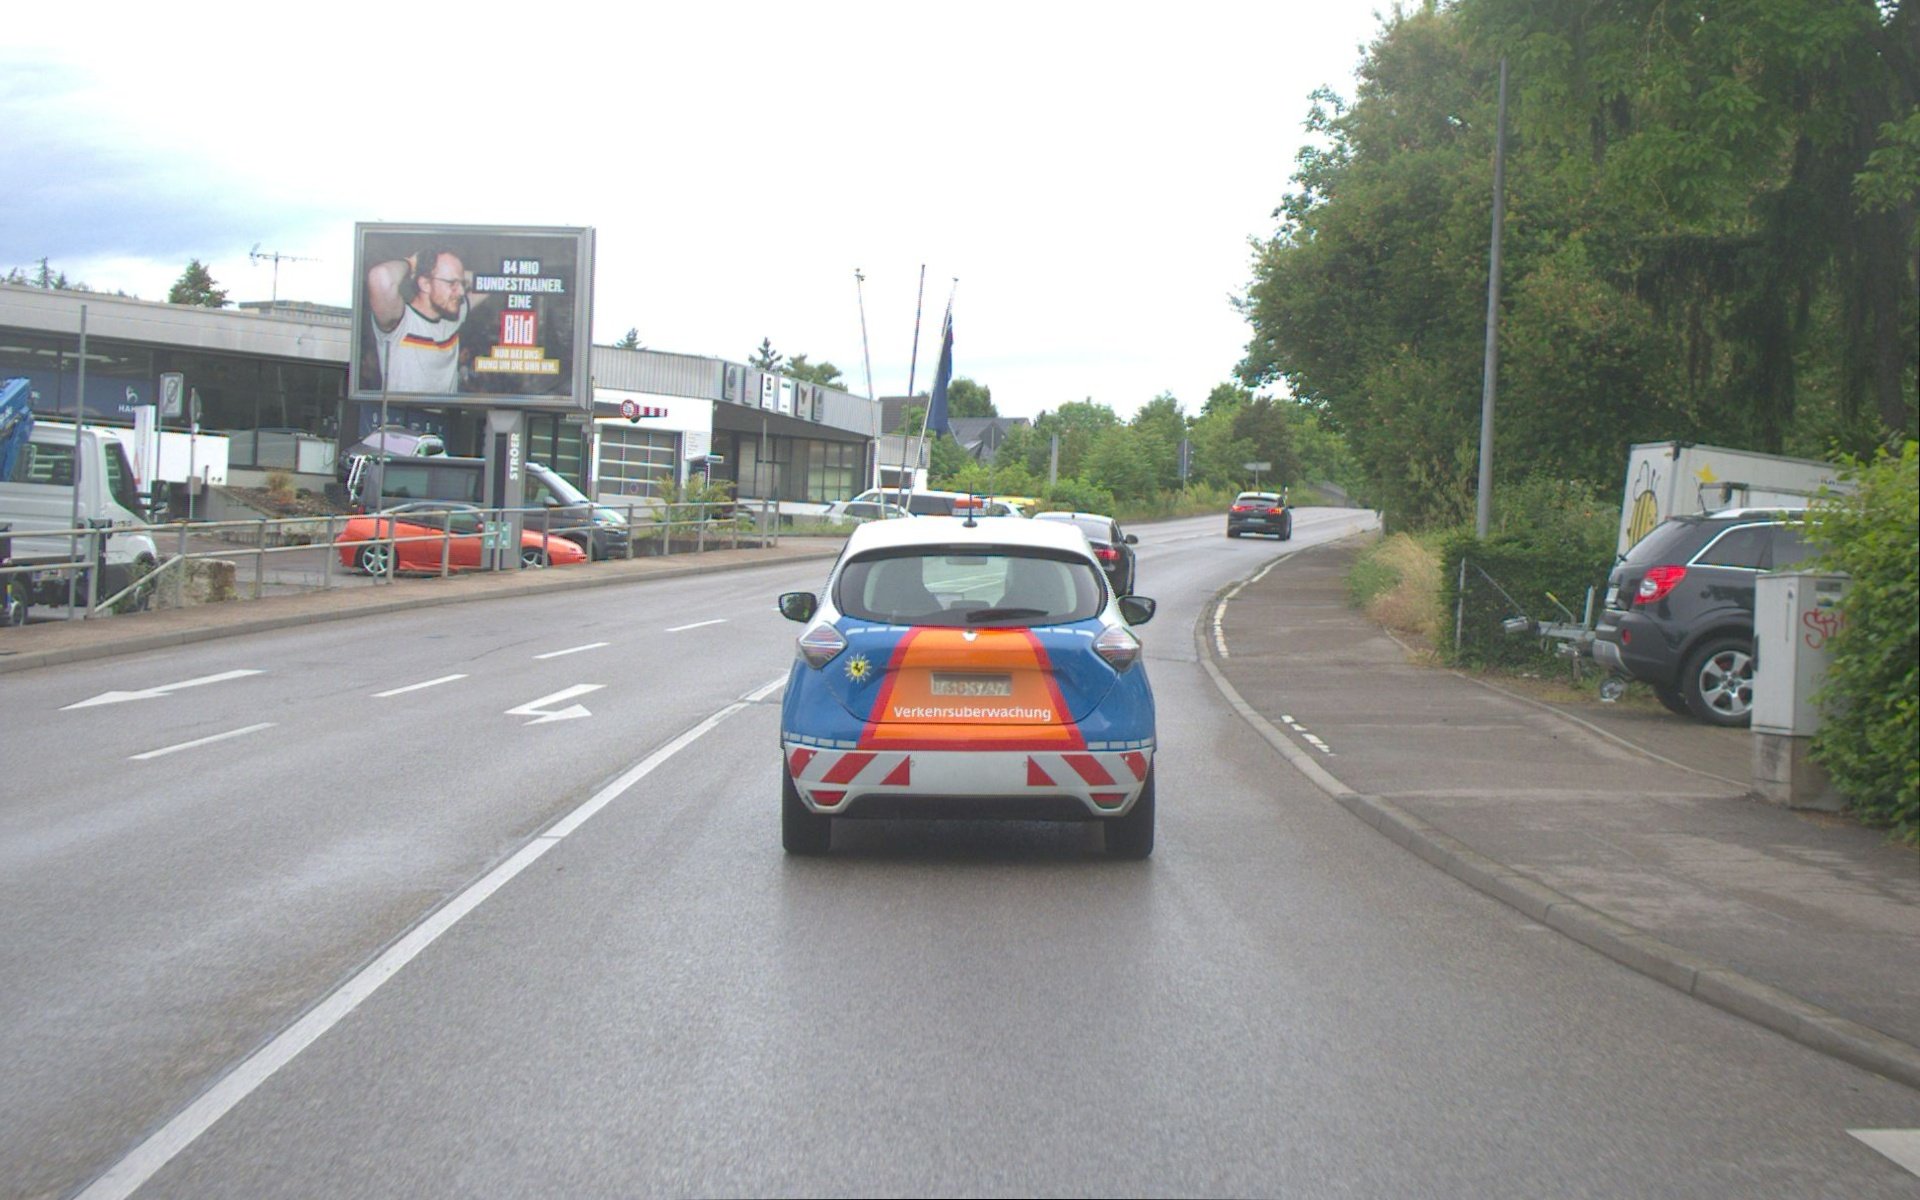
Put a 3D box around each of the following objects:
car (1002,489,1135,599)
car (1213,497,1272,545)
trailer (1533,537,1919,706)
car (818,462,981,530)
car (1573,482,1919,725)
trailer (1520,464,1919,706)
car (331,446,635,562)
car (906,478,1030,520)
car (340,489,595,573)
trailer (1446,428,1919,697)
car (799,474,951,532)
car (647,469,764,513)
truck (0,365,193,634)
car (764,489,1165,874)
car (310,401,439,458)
[{"bbox_3d":[1.697,-0.886,52.944,1.802,1.584,3.562,2,2,5],"label":"car"},{"bbox_3d":[8.686,-2.436,105.462,1.614,1.402,3.496,2,2,7],"label":"car"},{"bbox_3d":[7.438,0.201,30.544,4.397,1.283,1.572,3,3,1],"label":"trailer"},{"bbox_3d":[-1.731,-3.011,99.329,4.414,1.791,1.934,2,2,8],"label":"car"},{"bbox_3d":[7.184,0.033,27.457,4.213,1.743,1.984,3,3,3],"label":"car"},{"bbox_3d":[7.460,-0.148,32.511,3.952,2.015,1.687,4,2,1],"label":"trailer"},{"bbox_3d":[-8.399,-1.710,60.843,5.067,1.864,1.823,2,2,1],"label":"car"},{"bbox_3d":[0.290,-3.478,117.781,4.063,1.286,1.804,2,2,6],"label":"car"},{"bbox_3d":[-8.262,-1.177,57.899,4.091,1.263,1.770,2,2,-3],"label":"car"},{"bbox_3d":[7.408,-0.382,34.519,4.534,2.392,1.950,3,2,-6],"label":"trailer"},{"bbox_3d":[-2.378,-2.746,96.900,4.010,1.473,1.823,2,2,8],"label":"car"},{"bbox_3d":[-9.179,-3.927,123.693,4.019,1.411,1.948,4,3,43],"label":"car"},{"bbox_3d":[-10.146,-1.094,35.308,1.994,2.623,7.892,2,3,6],"label":"truck"},{"bbox_3d":[-0.041,0.313,16.697,1.657,1.587,3.569,3,1,-2],"label":"car"},{"bbox_3d":[-16.212,-4.725,95.391,1.819,1.473,4.019,3,3,18],"label":"car"}]
